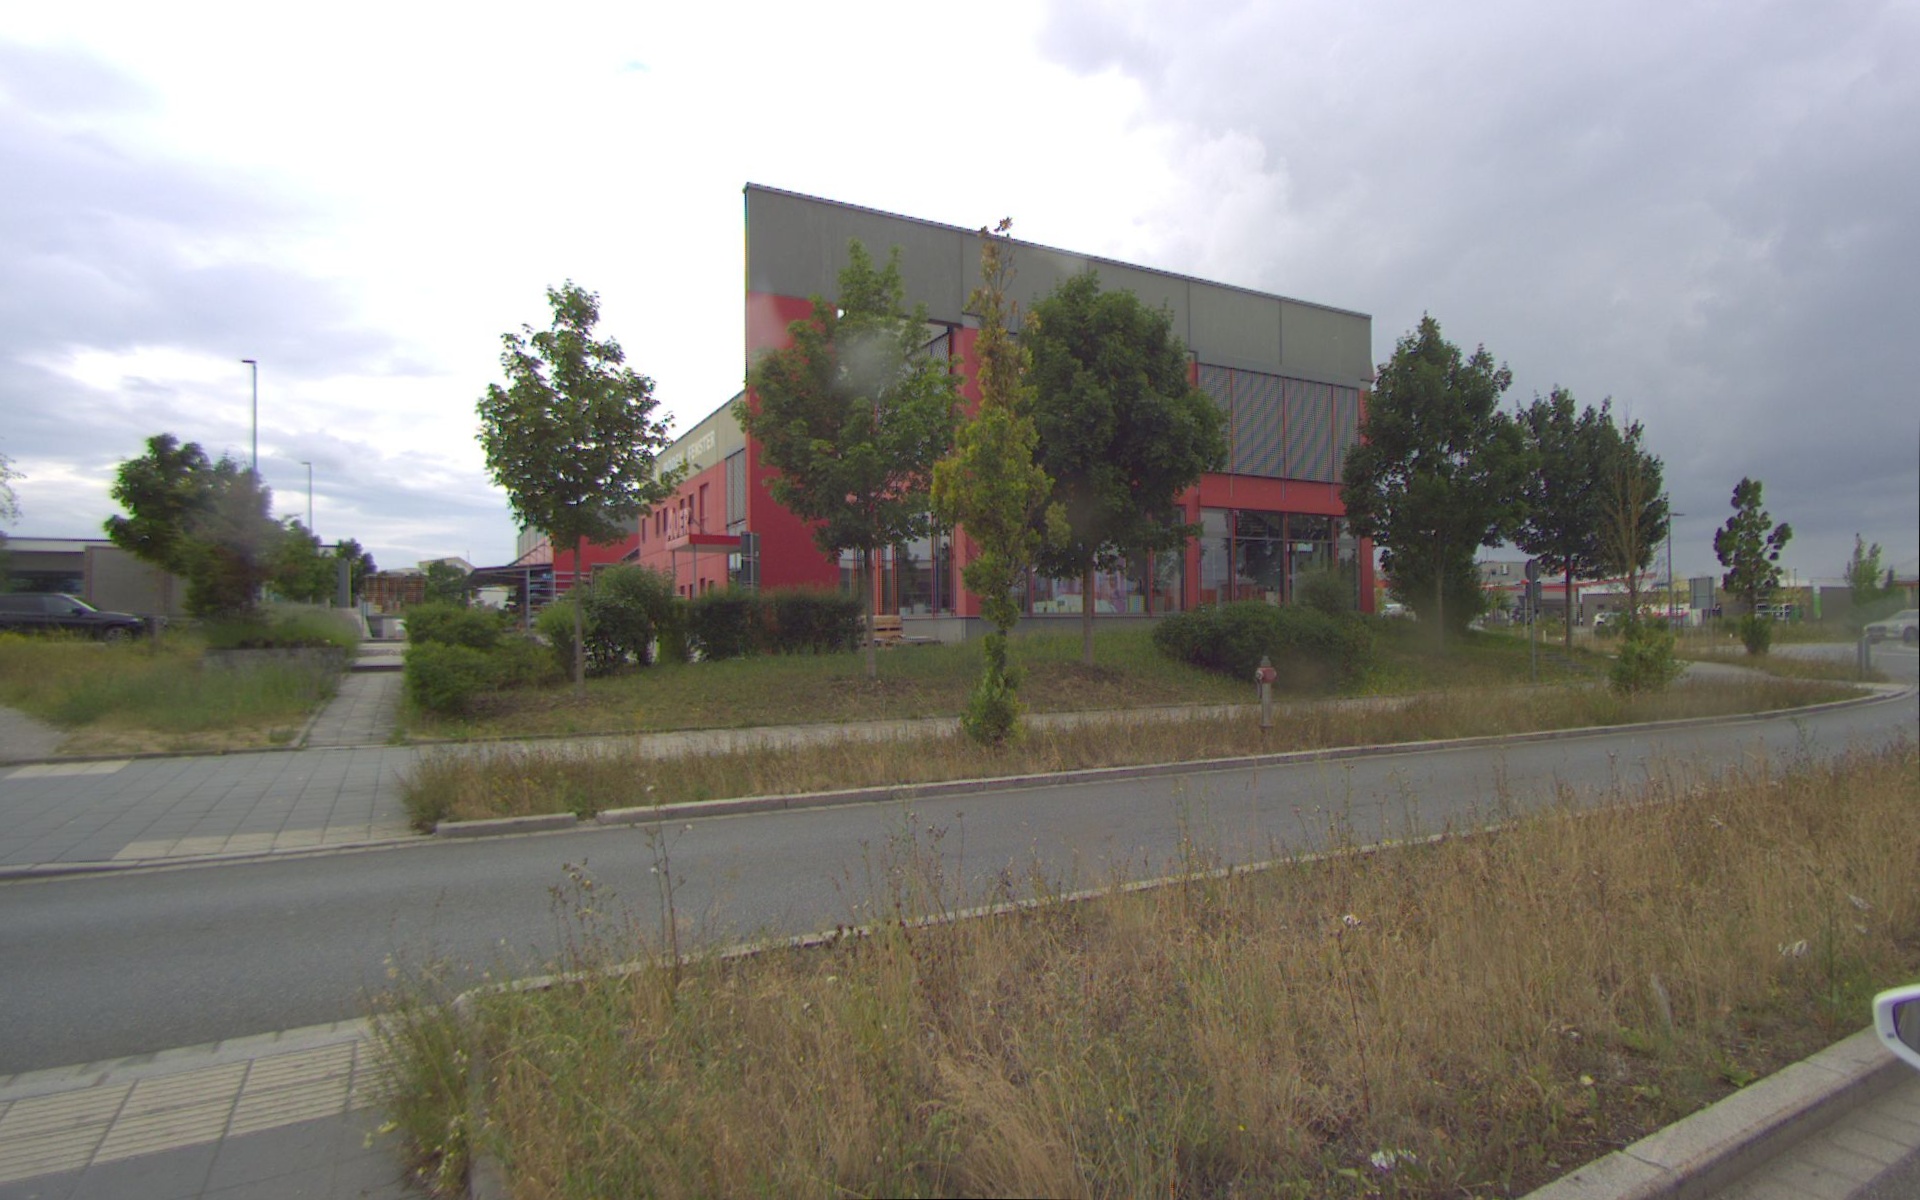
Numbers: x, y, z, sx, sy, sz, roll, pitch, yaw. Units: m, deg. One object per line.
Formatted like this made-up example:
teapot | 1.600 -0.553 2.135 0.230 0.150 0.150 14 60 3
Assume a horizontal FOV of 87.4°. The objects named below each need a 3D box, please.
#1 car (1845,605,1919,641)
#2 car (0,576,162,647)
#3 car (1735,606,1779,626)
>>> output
car | 45.736 1.118 48.706 4.136 1.713 2.031 0 -1 -7
car | -27.245 0.371 30.339 4.582 2.060 1.985 1 -2 -29
car | 76.693 1.502 96.701 3.952 1.884 1.985 1 -1 -29
